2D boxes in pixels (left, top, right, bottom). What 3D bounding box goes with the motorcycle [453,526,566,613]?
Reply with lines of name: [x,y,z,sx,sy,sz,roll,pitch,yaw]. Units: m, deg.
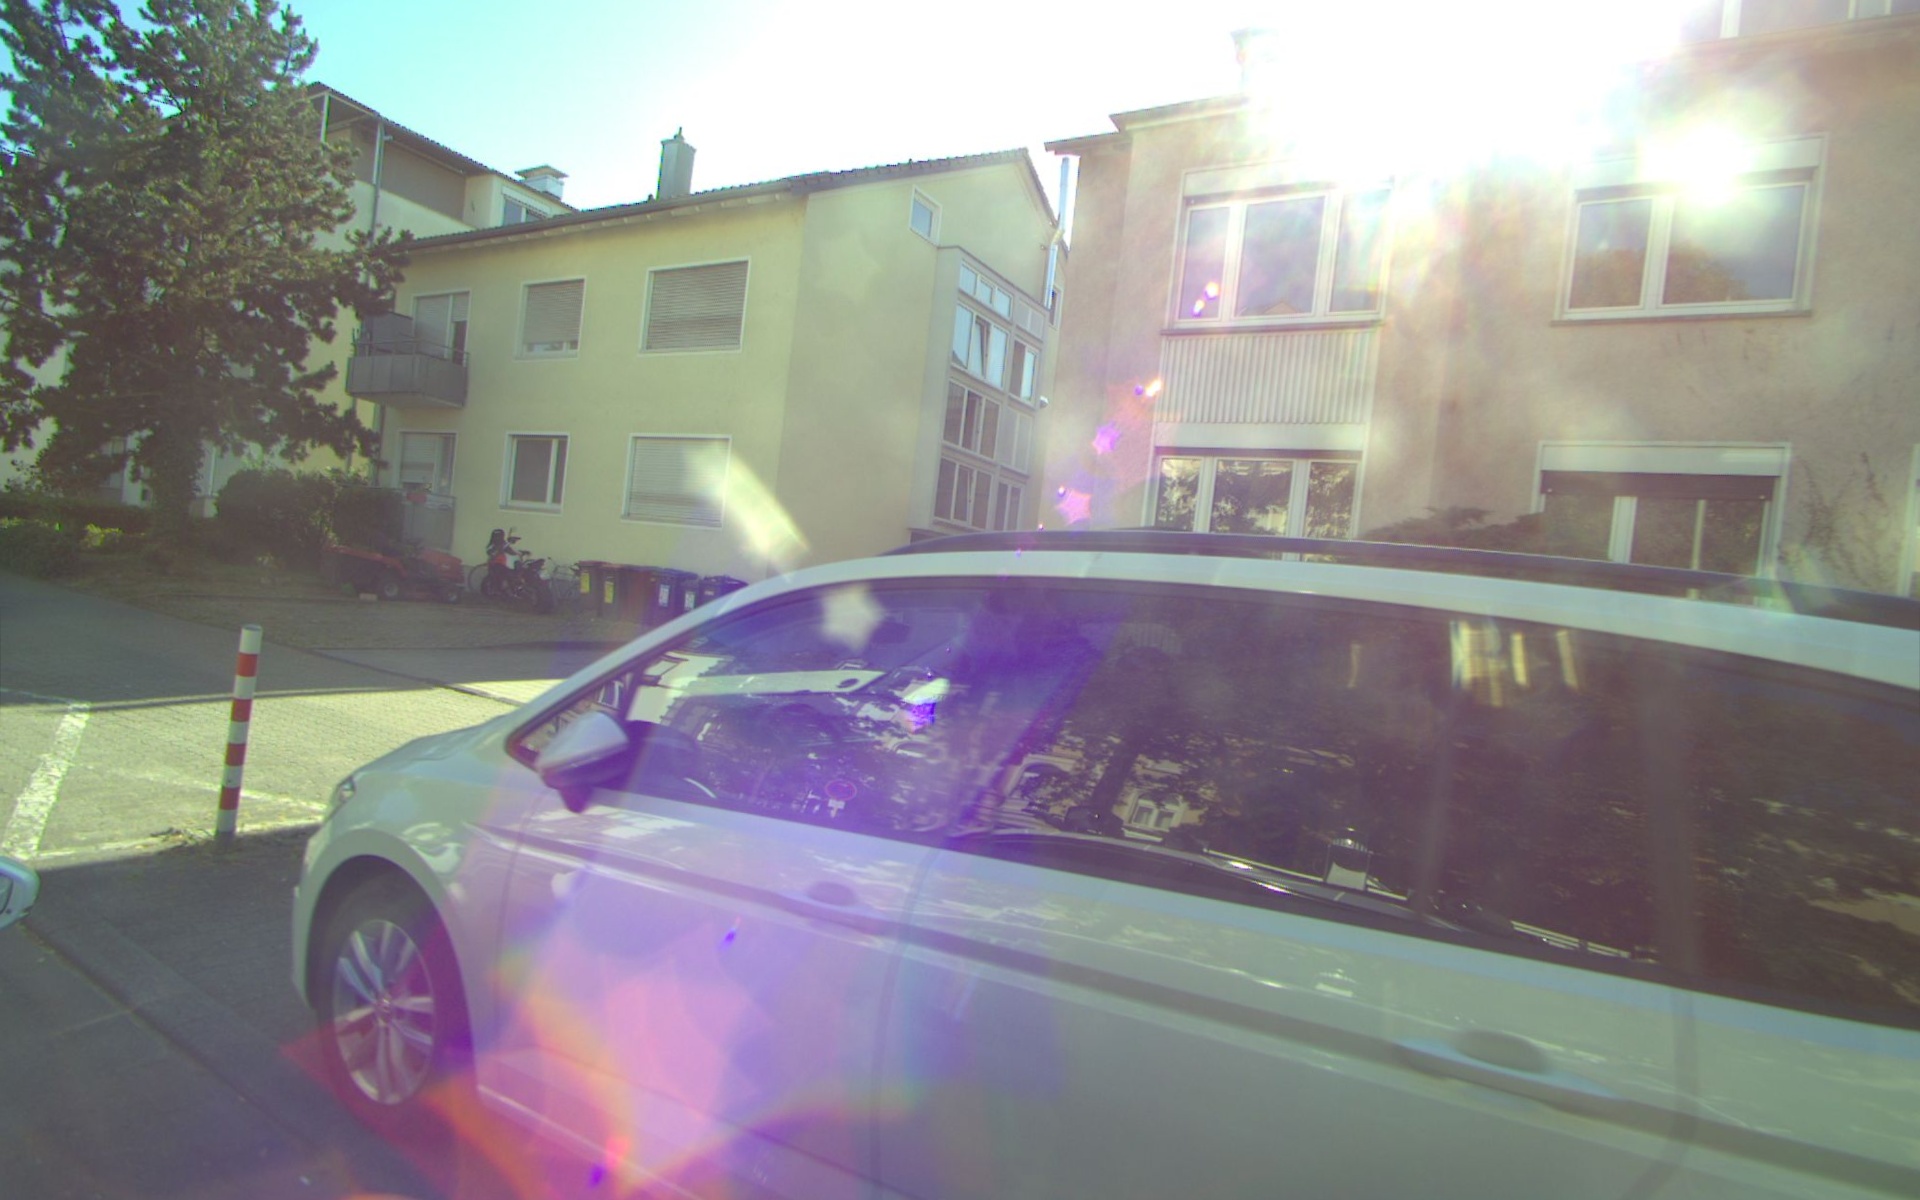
motorcycle: [-8.531,-0.585,19.002,2.385,1.393,0.636,7,2,32]

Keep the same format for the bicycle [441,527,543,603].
bicycle: [-9.628,-0.732,20.633,2.385,1.320,0.598,7,2,32]

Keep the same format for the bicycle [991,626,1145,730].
bicycle: [1.261,0.898,11.951,1.714,1.006,0.455,6,3,32]

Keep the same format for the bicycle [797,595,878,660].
bicycle: [-2.174,0.524,18.118,0.493,1.026,1.785,7,-1,24]

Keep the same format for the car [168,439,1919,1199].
car: [0.026,0.637,2.616,4.267,1.681,1.770,7,2,30]

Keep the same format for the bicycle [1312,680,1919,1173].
bicycle: [2.426,1.072,3.869,1.791,1.263,0.698,7,2,32]

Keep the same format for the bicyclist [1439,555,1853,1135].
bicyclist: [2.516,0.804,3.816,0.999,1.817,0.724,7,2,32]
